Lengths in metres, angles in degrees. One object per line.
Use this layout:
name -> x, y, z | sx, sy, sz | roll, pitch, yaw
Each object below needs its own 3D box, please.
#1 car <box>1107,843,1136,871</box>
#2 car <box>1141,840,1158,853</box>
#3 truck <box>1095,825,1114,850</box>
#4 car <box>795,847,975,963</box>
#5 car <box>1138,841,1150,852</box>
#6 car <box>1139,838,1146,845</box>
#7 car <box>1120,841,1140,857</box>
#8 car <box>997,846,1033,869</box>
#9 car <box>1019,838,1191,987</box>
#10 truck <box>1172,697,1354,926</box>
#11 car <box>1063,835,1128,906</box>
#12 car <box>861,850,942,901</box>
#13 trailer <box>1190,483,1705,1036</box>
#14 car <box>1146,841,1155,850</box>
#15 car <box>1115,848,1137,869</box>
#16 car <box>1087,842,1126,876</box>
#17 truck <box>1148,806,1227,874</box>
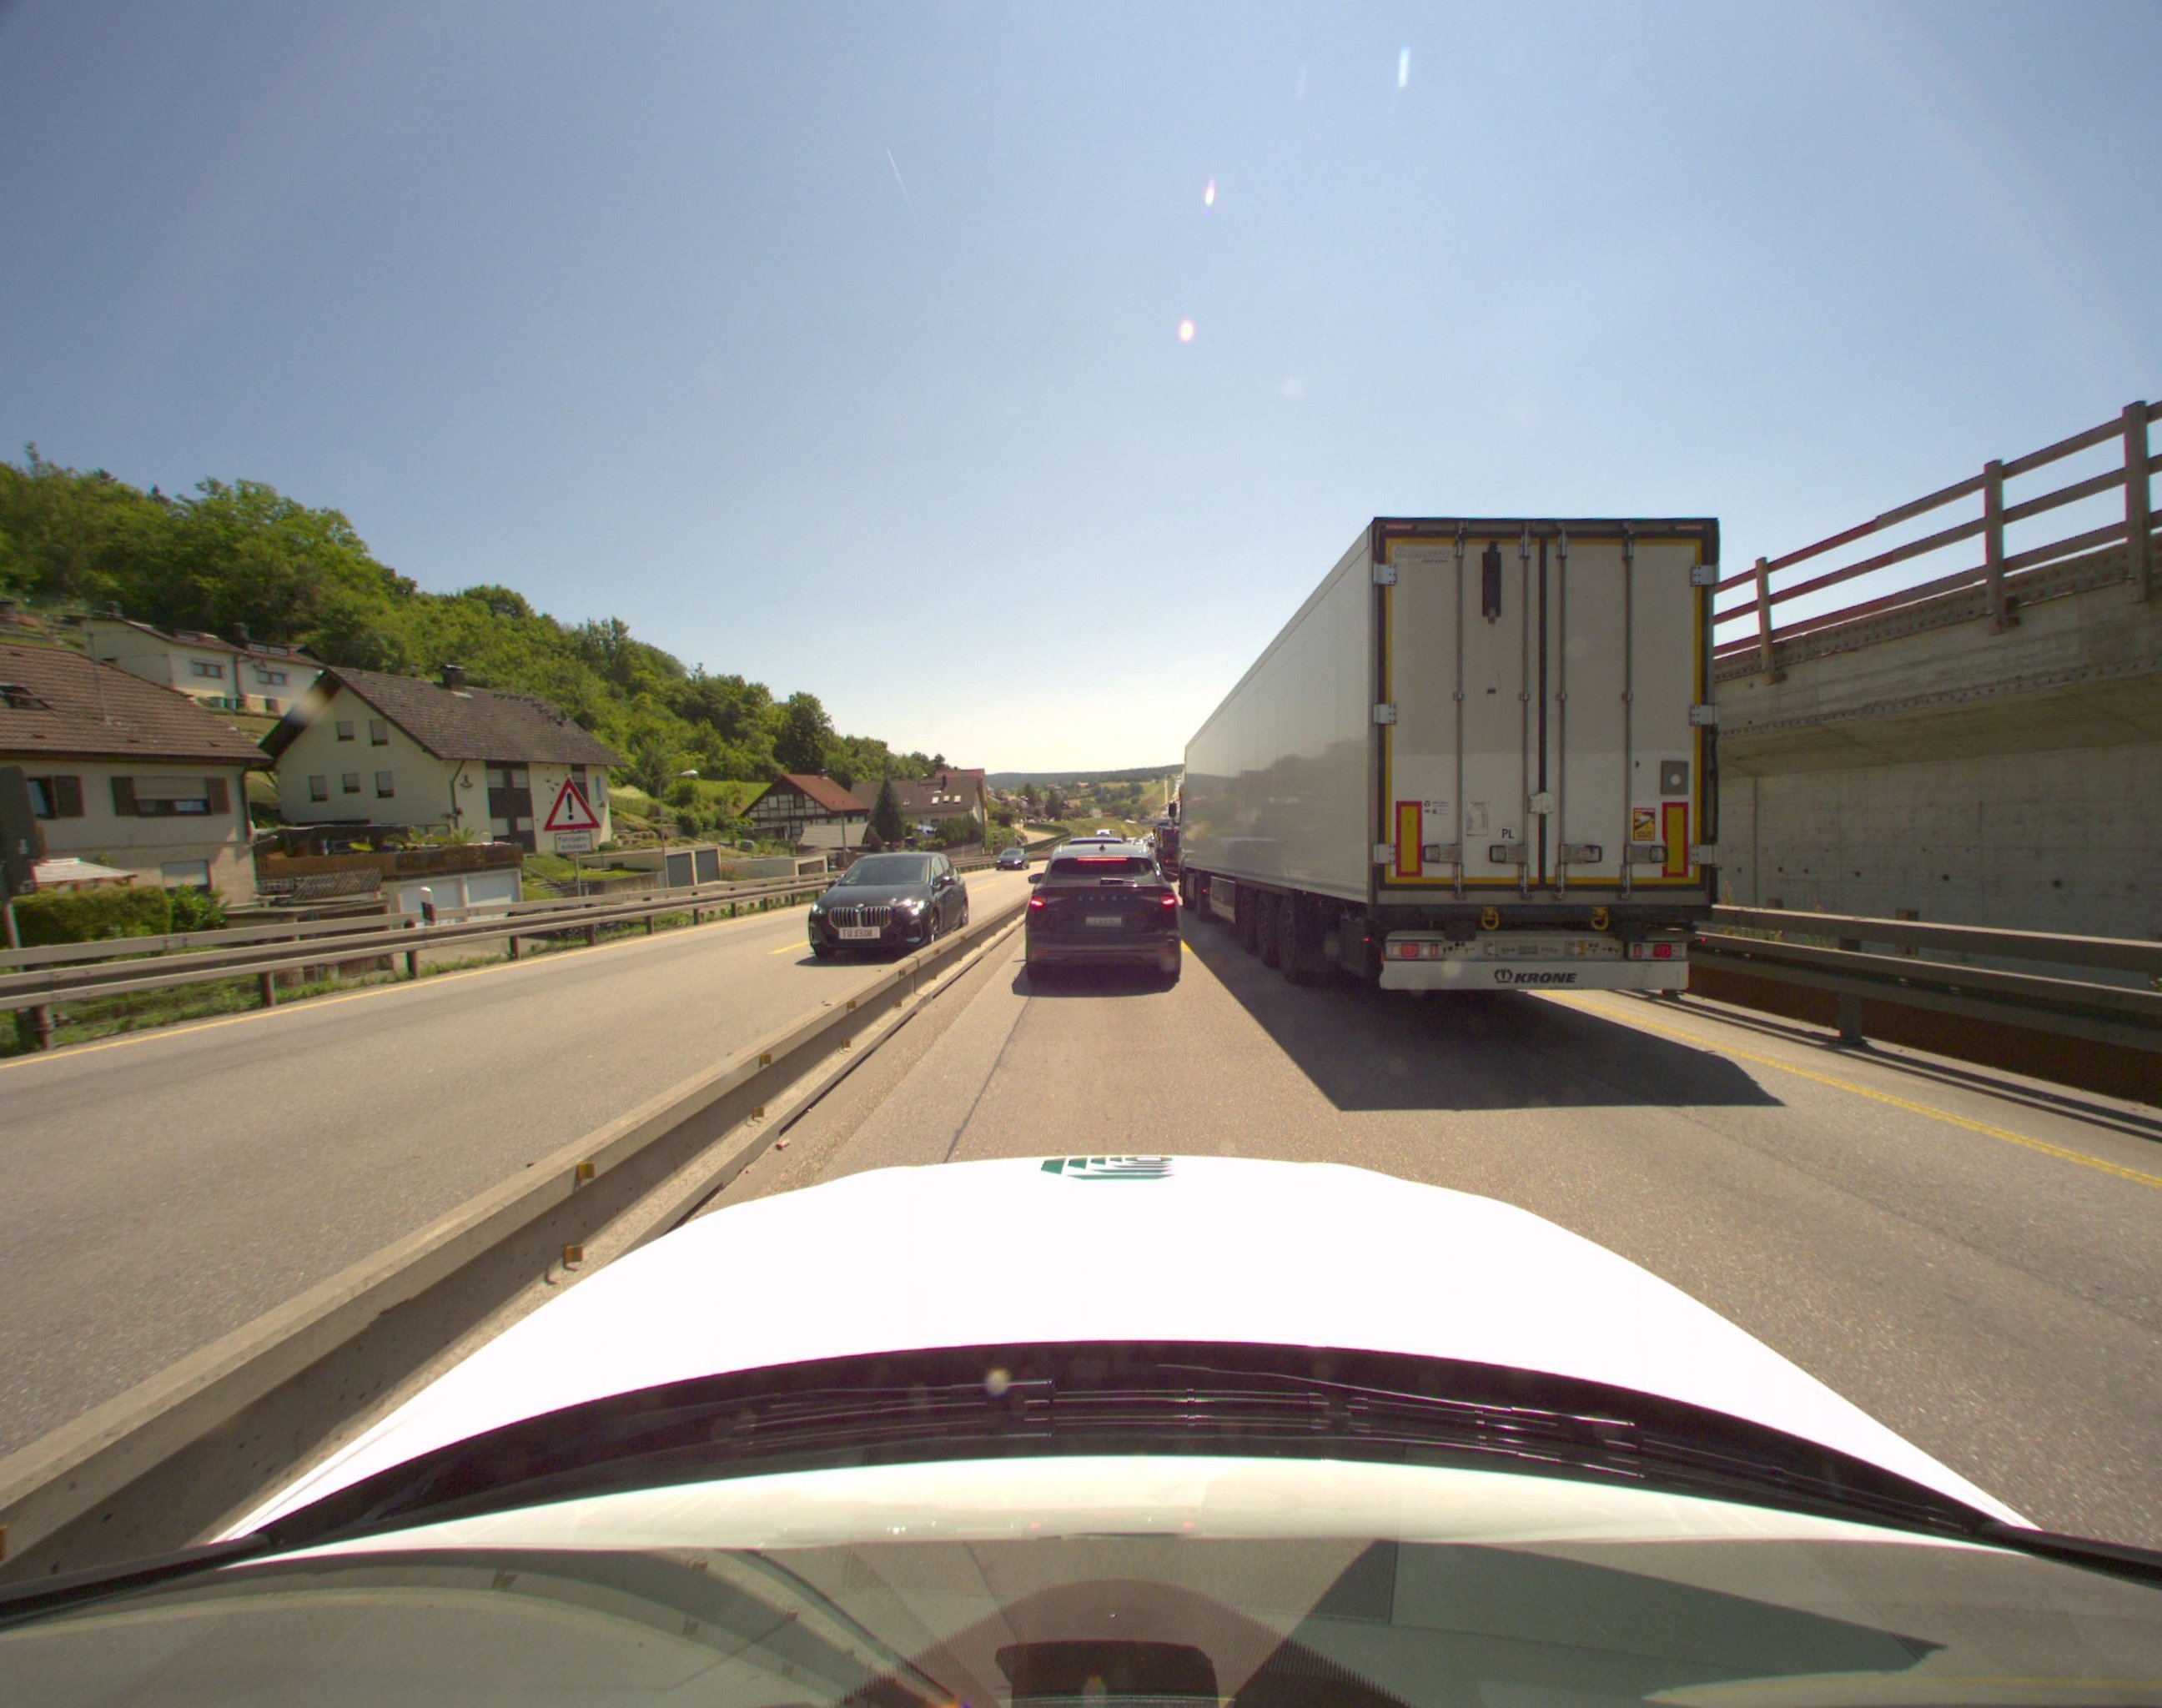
car -> 2.477, 0.149, 50.651 | 1.700, 1.622, 4.002 | 0, 1, 2
car -> 8.607, -0.957, 103.021 | 1.985, 1.585, 3.839 | 0, 0, 3
truck -> 4.014, -2.798, 138.599 | 2.739, 4.283, 4.965 | 0, 1, 5
car -> -3.010, 0.723, 13.446 | 1.812, 1.586, 4.161 | 1, 0, 2
car -> 9.924, -1.190, 128.844 | 1.692, 1.727, 3.843 | 0, 0, 7
car -> 15.875, -3.218, 210.194 | 1.692, 1.727, 3.842 | 0, 0, 5
car -> 4.973, -0.445, 82.796 | 1.985, 1.585, 3.839 | 0, 0, 3
car -> -4.410, 0.235, 55.246 | 1.834, 1.418, 4.689 | -2, 0, 2
car -> 0.206, 0.632, 10.715 | 1.838, 1.586, 3.904 | 0, 0, -2
truck -> 3.662, -0.732, 18.496 | 2.504, 4.025, 8.240 | 0, 0, 2
car -> 0.341, 0.390, 23.655 | 1.702, 1.881, 3.998 | 0, 1, -2
car -> -6.092, 0.669, 28.104 | 1.726, 1.489, 4.003 | -1, 2, 2
trailer -> 3.506, -0.683, 11.874 | 2.523, 4.127, 11.550 | 0, 0, 1
car -> 14.016, -1.694, 165.115 | 1.692, 1.727, 3.843 | 0, 0, 7
car -> 3.744, 0.364, 68.084 | 1.700, 1.622, 4.002 | 0, 1, 2
car -> 1.256, 0.228, 41.494 | 1.702, 1.622, 3.998 | 0, 1, -2
truck -> 5.654, -0.646, 45.648 | 3.183, 3.191, 12.815 | -1, 0, 2
